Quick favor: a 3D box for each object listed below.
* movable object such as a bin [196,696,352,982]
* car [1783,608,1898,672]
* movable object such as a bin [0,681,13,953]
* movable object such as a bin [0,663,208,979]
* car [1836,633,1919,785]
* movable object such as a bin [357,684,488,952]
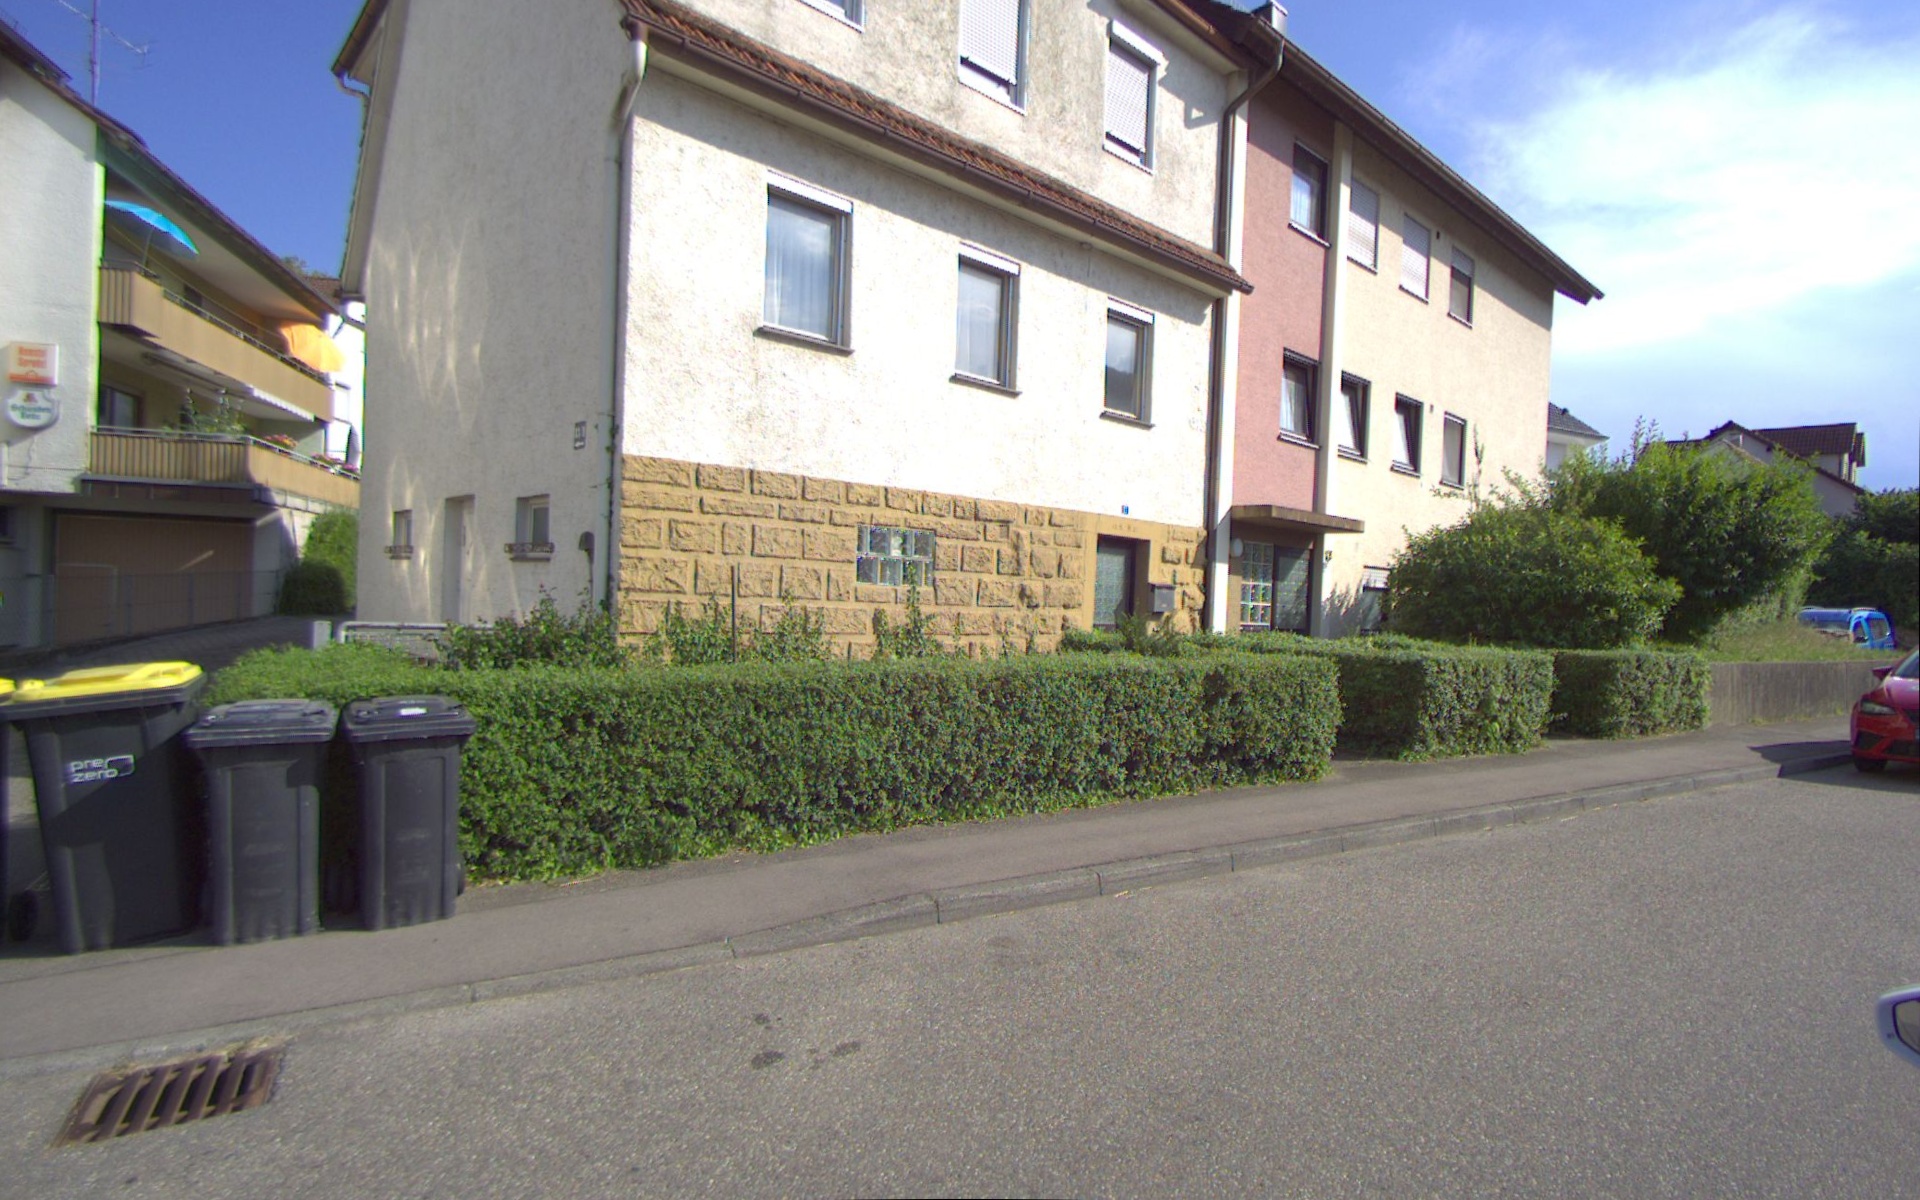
[{"bbox_3d":[-2.809,0.937,4.156,0.452,1.036,0.529,1,-1,-28],"label":"movable object such as a bin"},{"bbox_3d":[20.546,0.932,23.415,3.164,1.390,1.350,2,-2,-35],"label":"car"},{"bbox_3d":[-4.003,0.873,3.745,0.523,1.098,0.586,1,-1,-28],"label":"movable object such as a bin"},{"bbox_3d":[-3.484,0.834,4.053,0.609,1.137,0.586,1,-1,-28],"label":"movable object such as a bin"},{"bbox_3d":[10.866,1.112,10.556,3.743,1.453,1.697,2,-2,-35],"label":"car"},{"bbox_3d":[-2.329,0.901,4.371,0.452,1.036,0.529,1,-1,-28],"label":"movable object such as a bin"}]
